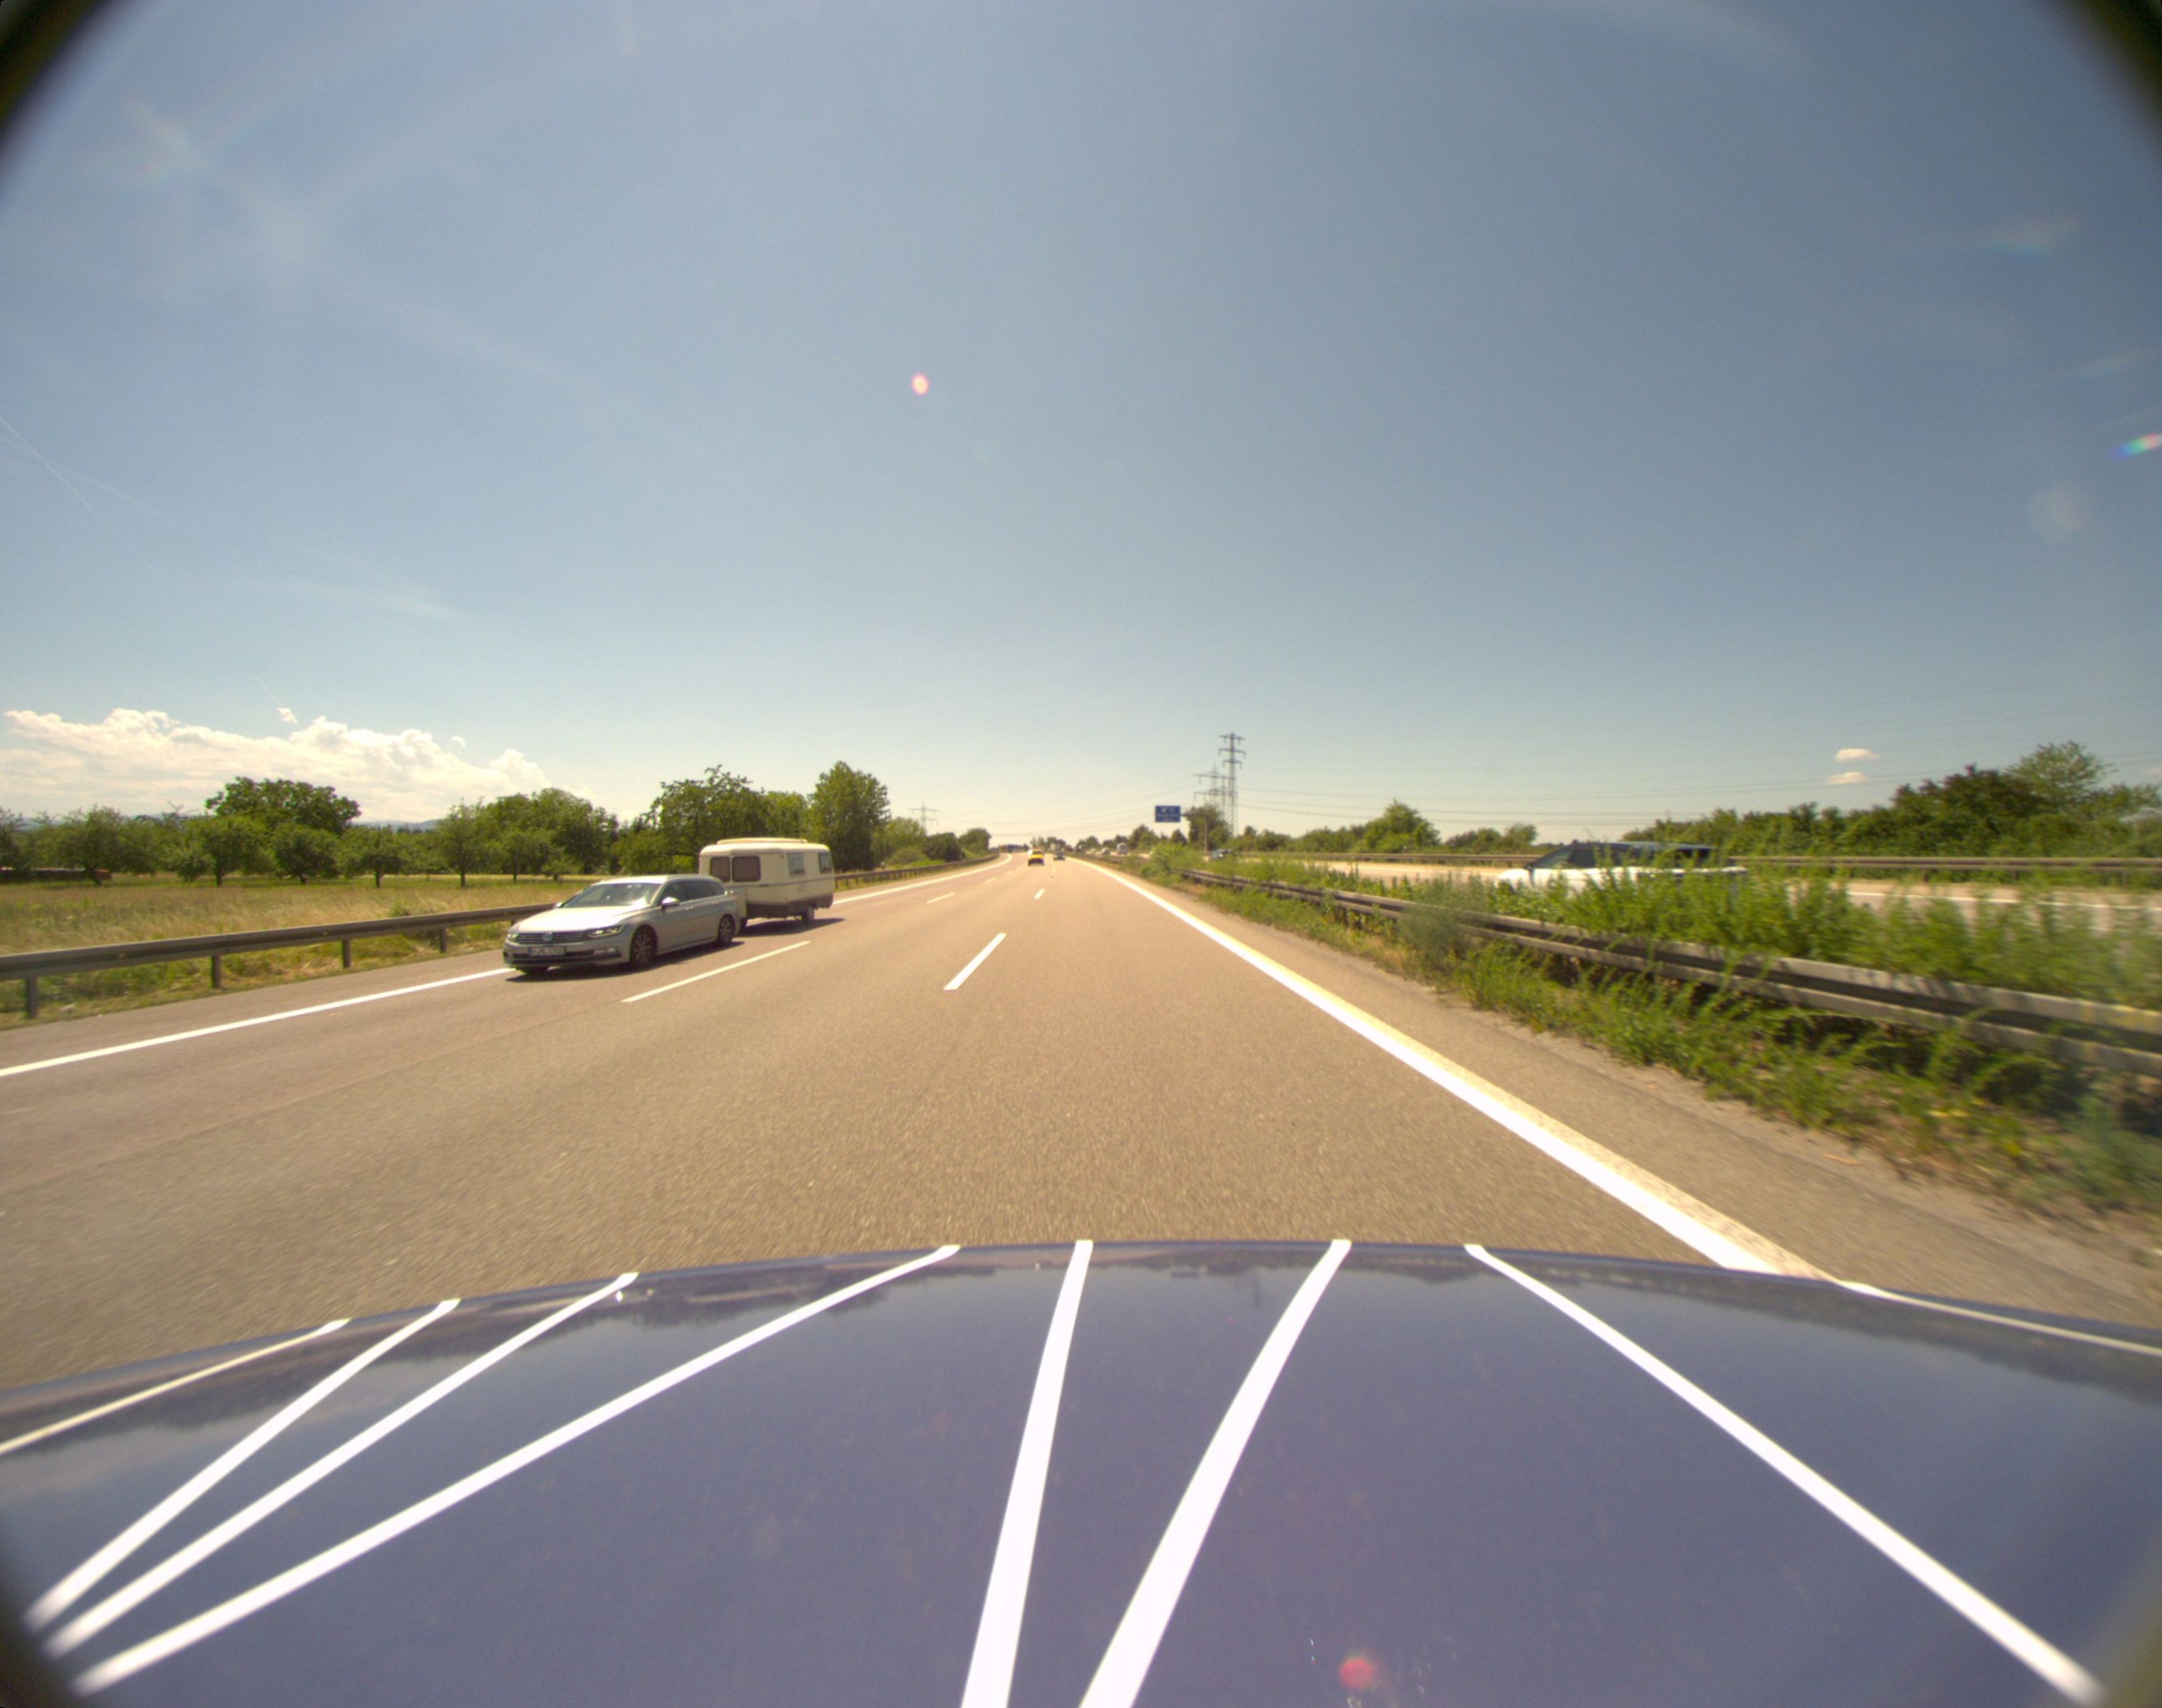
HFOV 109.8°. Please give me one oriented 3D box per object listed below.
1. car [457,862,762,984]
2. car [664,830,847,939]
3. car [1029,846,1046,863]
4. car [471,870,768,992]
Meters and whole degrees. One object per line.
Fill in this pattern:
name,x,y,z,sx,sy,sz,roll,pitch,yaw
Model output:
car,-7.662,0.990,13.244,2.050,1.648,5.509,-1,-1,-3
car,-7.801,0.694,18.981,2.449,2.308,5.321,-1,-1,-3
car,-5.271,0.137,93.342,1.956,2.001,5.432,0,-1,-2
car,-7.616,1.139,13.403,1.892,1.506,5.379,-3,0,0
